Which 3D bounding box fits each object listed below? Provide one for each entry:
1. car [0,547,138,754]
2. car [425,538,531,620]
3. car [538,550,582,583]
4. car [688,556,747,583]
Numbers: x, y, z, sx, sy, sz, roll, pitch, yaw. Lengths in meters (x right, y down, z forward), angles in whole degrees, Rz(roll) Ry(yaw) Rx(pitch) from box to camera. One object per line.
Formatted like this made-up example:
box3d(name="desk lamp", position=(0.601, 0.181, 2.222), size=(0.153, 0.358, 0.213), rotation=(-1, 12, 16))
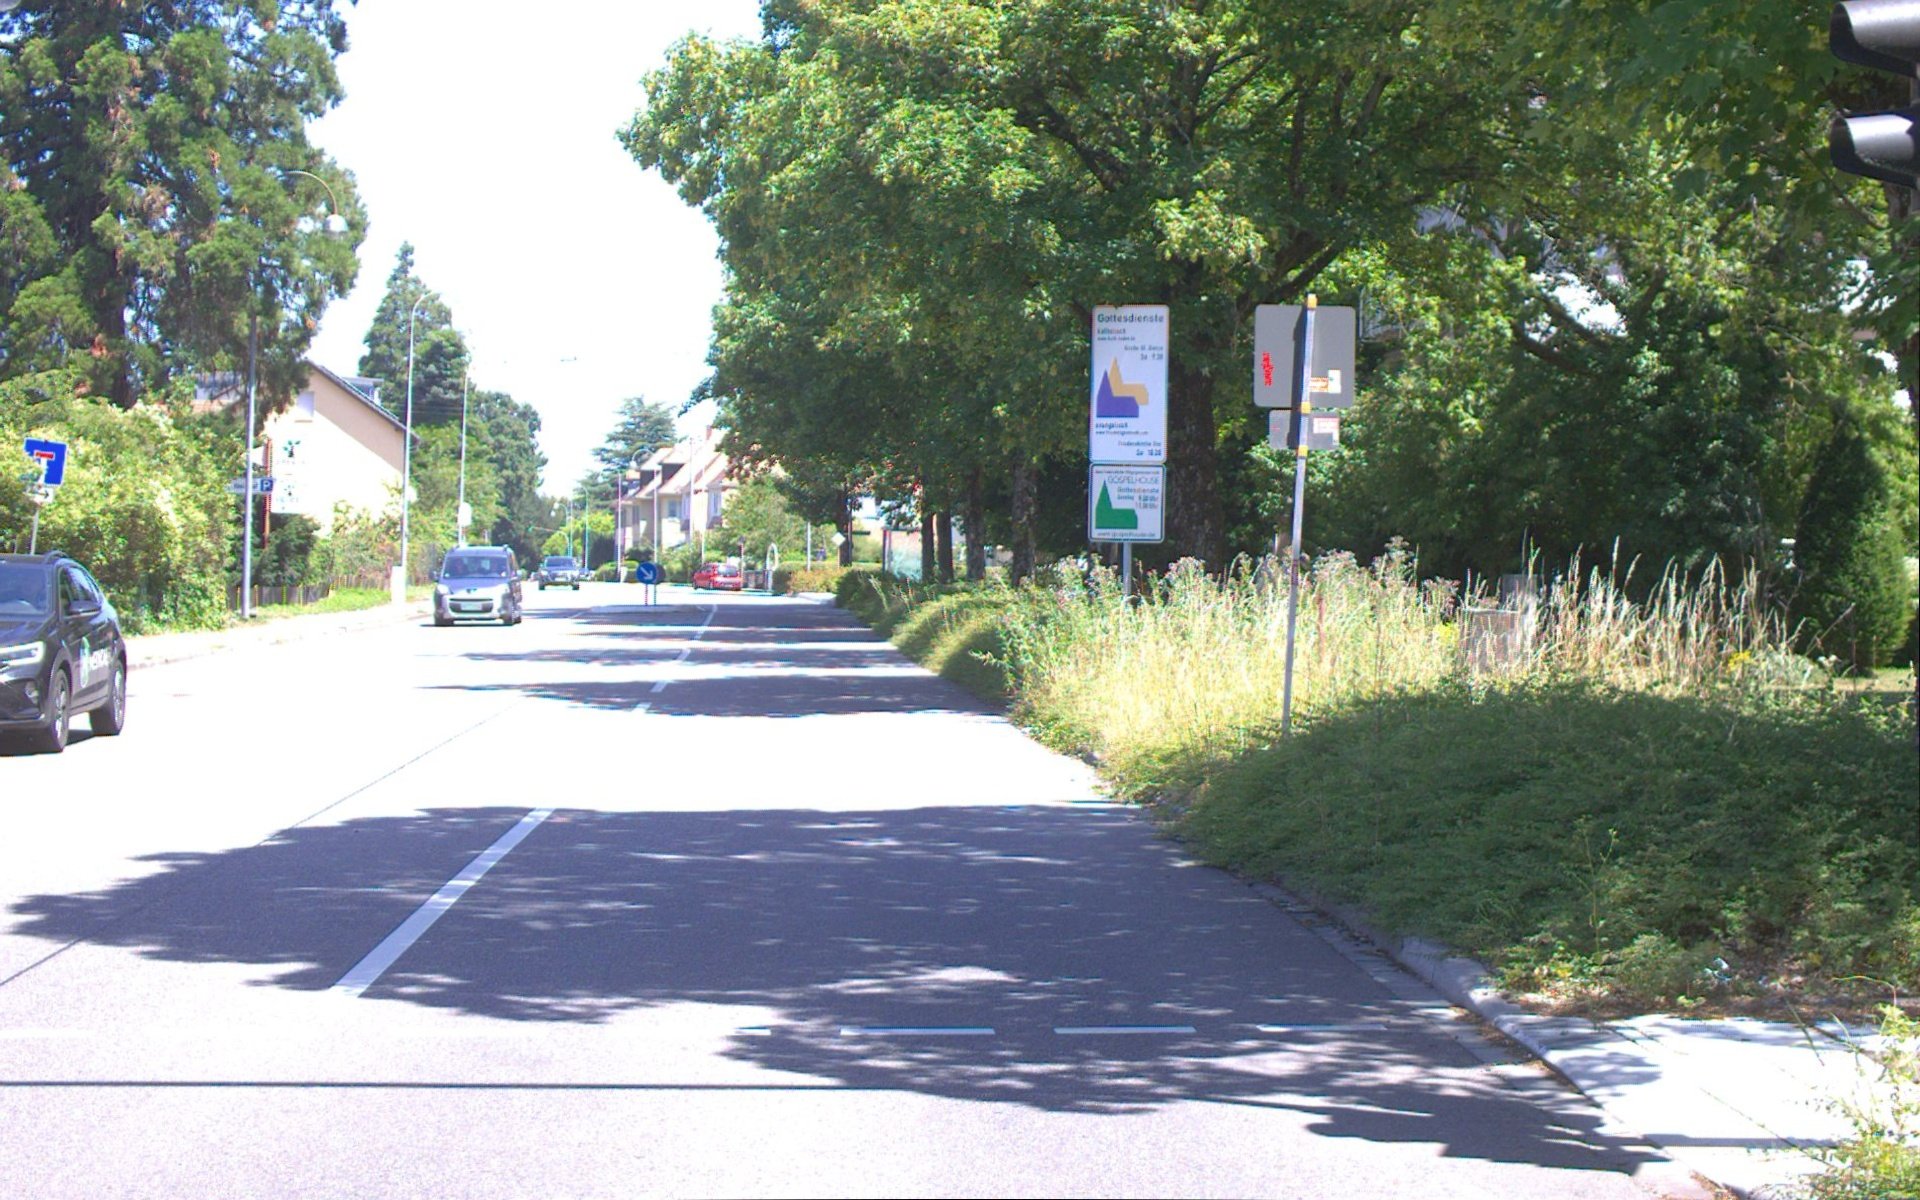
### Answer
box3d(name="car", position=(-7.699, 0.337, 26.888), size=(1.869, 1.501, 4.053), rotation=(0, 1, -5))
box3d(name="car", position=(-10.840, -0.493, 77.594), size=(1.811, 1.756, 4.570), rotation=(1, 1, -1))
box3d(name="car", position=(-18.625, -1.561, 160.199), size=(1.793, 1.531, 4.316), rotation=(0, 1, -3))
box3d(name="car", position=(-12.547, -1.585, 177.632), size=(1.943, 1.355, 4.465), rotation=(0, 1, -19))
